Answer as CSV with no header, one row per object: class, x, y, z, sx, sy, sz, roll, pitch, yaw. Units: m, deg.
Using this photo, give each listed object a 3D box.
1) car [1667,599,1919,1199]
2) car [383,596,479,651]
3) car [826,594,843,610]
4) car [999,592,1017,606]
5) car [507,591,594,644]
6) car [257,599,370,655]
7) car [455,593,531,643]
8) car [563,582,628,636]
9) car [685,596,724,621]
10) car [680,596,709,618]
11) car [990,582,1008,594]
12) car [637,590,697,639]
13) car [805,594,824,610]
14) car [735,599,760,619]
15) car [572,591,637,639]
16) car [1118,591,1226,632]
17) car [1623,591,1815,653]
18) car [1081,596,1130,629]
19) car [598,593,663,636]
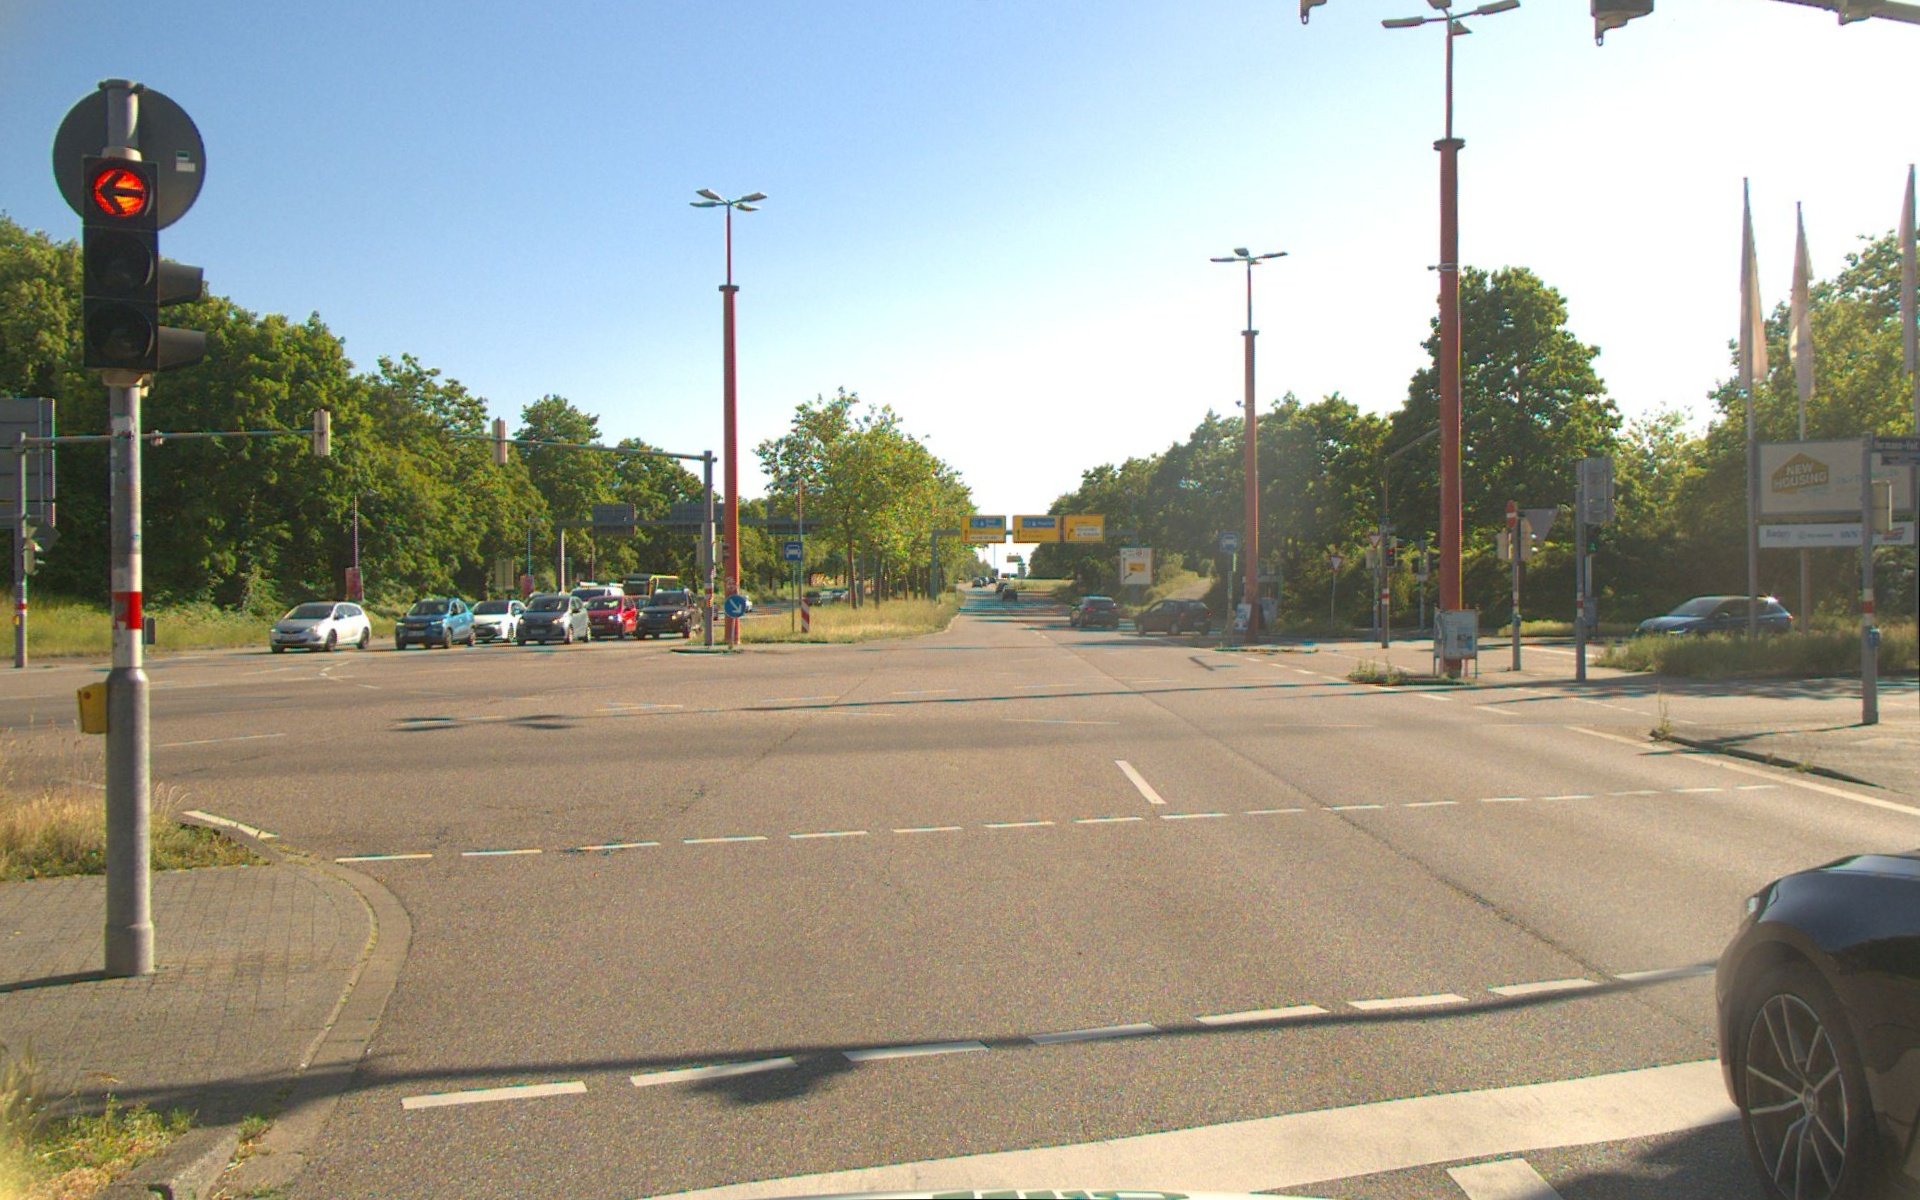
car,2.970,0.712,2.359,1.953,1.419,4.476,0,0,-1
car,-16.210,0.679,50.890,1.955,1.601,4.116,0,0,-5
car,-14.501,0.273,191.029,1.860,1.802,3.847,0,0,-3
car,5.673,-0.085,195.698,2.114,1.601,4.281,0,0,1
car,-12.807,0.519,51.963,1.954,1.601,4.118,0,0,-4
car,-19.588,0.782,50.297,1.954,1.601,4.118,0,0,-3
car,-15.992,0.594,56.783,1.956,1.601,4.113,-1,0,-8
car,-15.673,0.383,71.264,2.021,2.231,4.376,0,0,-3
car,-15.511,0.506,100.576,1.784,1.480,3.656,0,0,0
car,-19.976,0.523,124.607,1.840,1.601,4.116,0,0,-5
car,5.689,-1.743,240.427,2.116,1.601,4.277,0,0,-4
car,-9.876,0.469,55.990,1.841,1.601,4.113,0,0,-8
car,-14.425,0.184,163.522,1.840,1.601,4.116,0,0,-5
car,-17.593,0.750,136.921,1.840,1.601,3.943,0,0,-5
car,-12.480,0.504,58.270,1.956,1.601,4.113,0,0,-8
car,8.619,0.441,67.659,2.141,1.601,4.229,0,0,-35
car,18.757,0.528,40.899,4.201,1.453,1.874,0,0,-19
car,7.160,0.591,81.821,2.114,1.601,4.584,0,0,2
car,-12.713,0.525,64.045,1.954,1.601,4.117,0,0,-4
